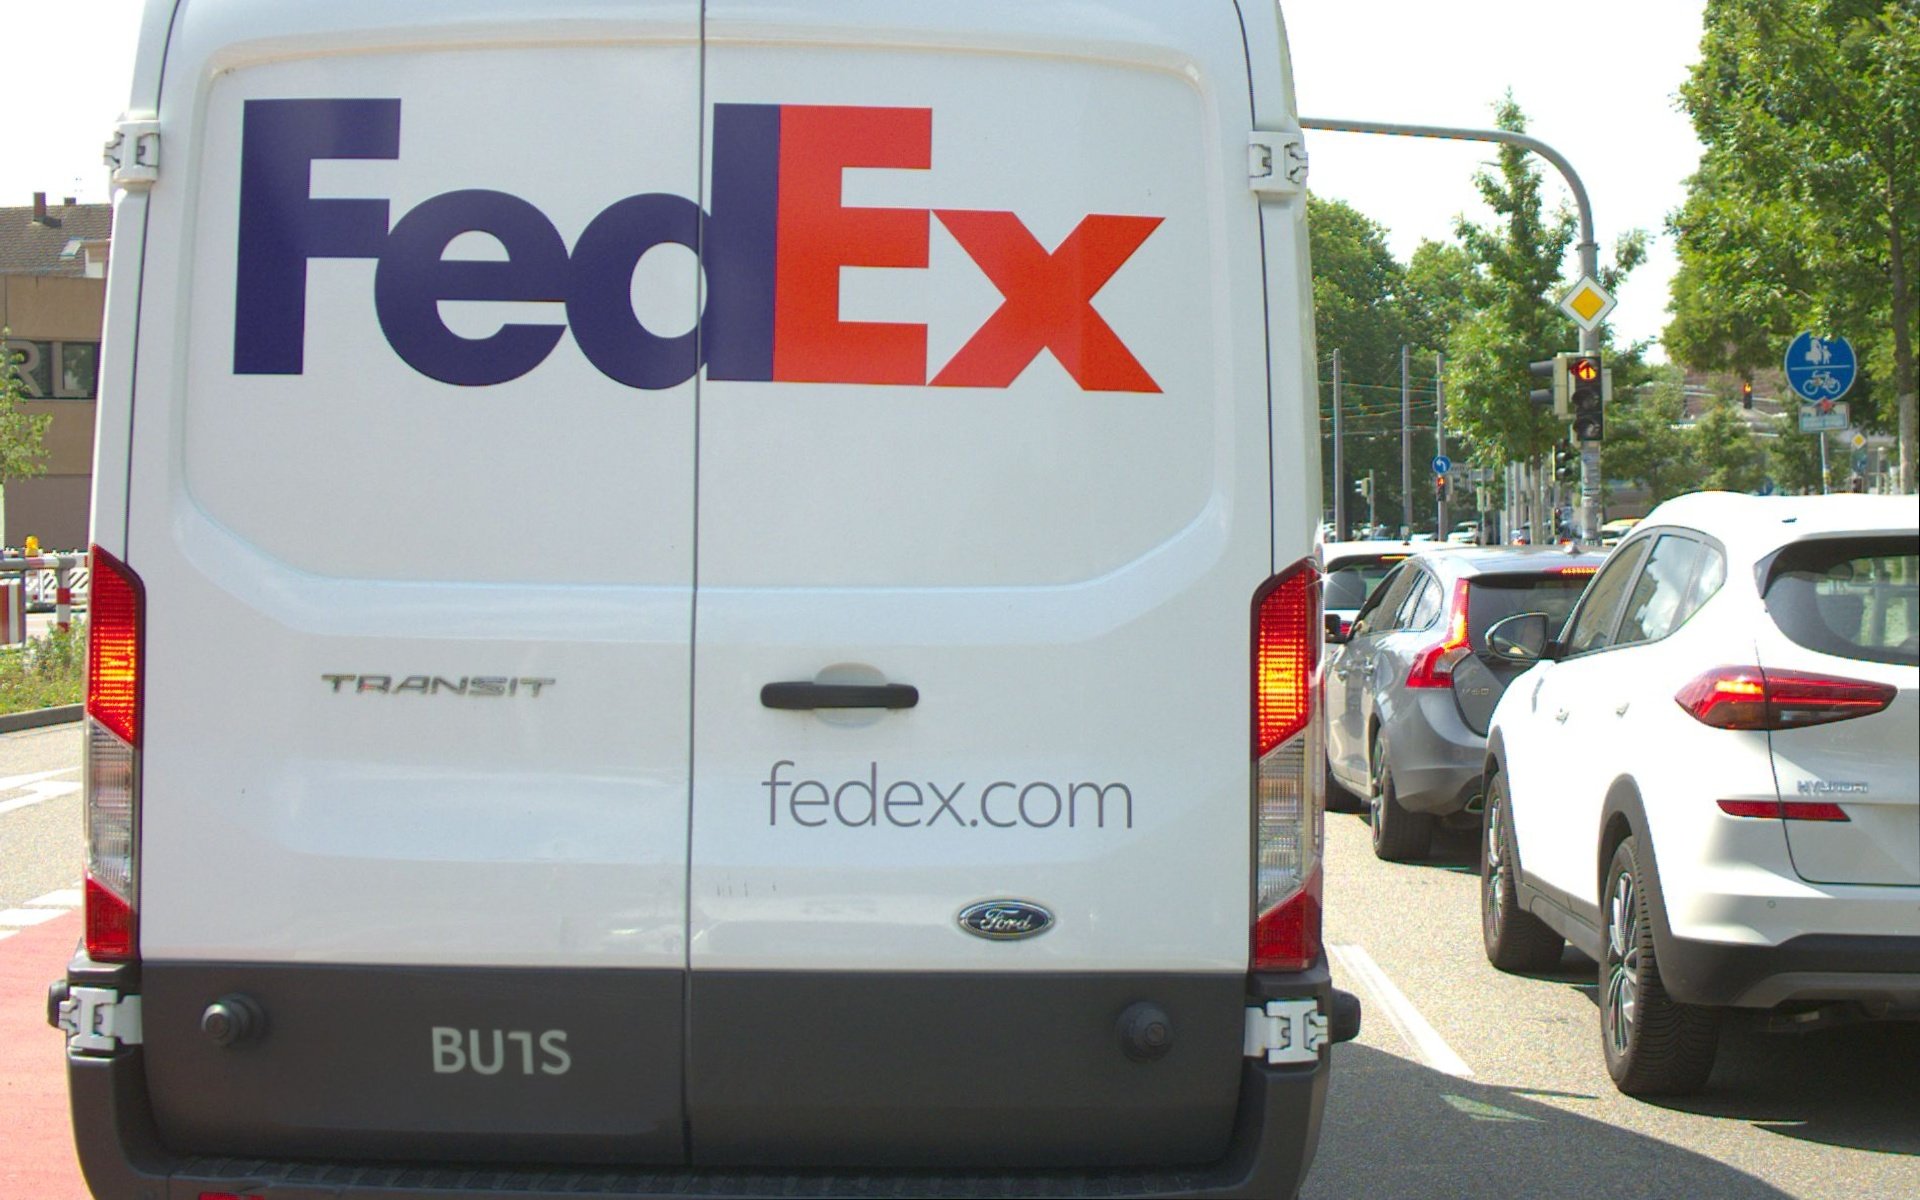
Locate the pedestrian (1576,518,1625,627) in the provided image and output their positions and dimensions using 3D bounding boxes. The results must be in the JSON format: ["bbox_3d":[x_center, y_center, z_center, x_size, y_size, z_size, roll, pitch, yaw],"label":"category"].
[{"bbox_3d":[11.005,-0.474,59.047,0.759,1.843,0.816,0,1,15],"label":"pedestrian"}]

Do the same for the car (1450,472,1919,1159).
[{"bbox_3d":[2.640,0.471,10.354,1.814,1.673,3.974,0,1,1],"label":"car"}]

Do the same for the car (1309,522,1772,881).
[{"bbox_3d":[2.719,0.401,16.843,1.691,1.543,3.720,0,1,1],"label":"car"}]

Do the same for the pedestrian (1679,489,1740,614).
[{"bbox_3d":[11.191,-0.736,51.366,0.759,1.843,0.816,-1,1,3],"label":"pedestrian"}]

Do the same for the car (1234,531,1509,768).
[{"bbox_3d":[2.729,0.275,23.366,1.499,1.459,3.474,0,1,1],"label":"car"}]

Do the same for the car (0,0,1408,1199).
[{"bbox_3d":[-0.357,0.068,7.194,2.072,2.572,4.428,0,1,1],"label":"car"}]

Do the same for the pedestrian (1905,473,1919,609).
[{"bbox_3d":[12.952,-0.781,45.407,0.759,1.783,0.816,0,1,5],"label":"pedestrian"}]

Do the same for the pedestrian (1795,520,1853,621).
[{"bbox_3d":[16.050,-0.557,63.864,0.758,1.843,0.816,-1,1,-12],"label":"pedestrian"}]

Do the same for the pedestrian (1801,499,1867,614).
[{"bbox_3d":[14.225,-0.716,55.985,0.758,1.843,0.816,-1,1,-10],"label":"pedestrian"}]

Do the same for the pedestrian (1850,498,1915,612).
[{"bbox_3d":[15.109,-0.742,56.298,0.758,1.843,0.816,-1,1,-8],"label":"pedestrian"}]

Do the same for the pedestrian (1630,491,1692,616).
[{"bbox_3d":[10.426,-0.697,51.131,0.759,1.843,0.816,-1,1,1],"label":"pedestrian"}]

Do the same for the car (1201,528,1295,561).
[{"bbox_3d":[13.512,-2.601,161.218,4.232,1.493,1.741,-1,1,-1],"label":"car"}]

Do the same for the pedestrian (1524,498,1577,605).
[{"bbox_3d":[10.286,-0.849,59.902,0.813,1.843,0.761,0,1,3],"label":"pedestrian"}]
